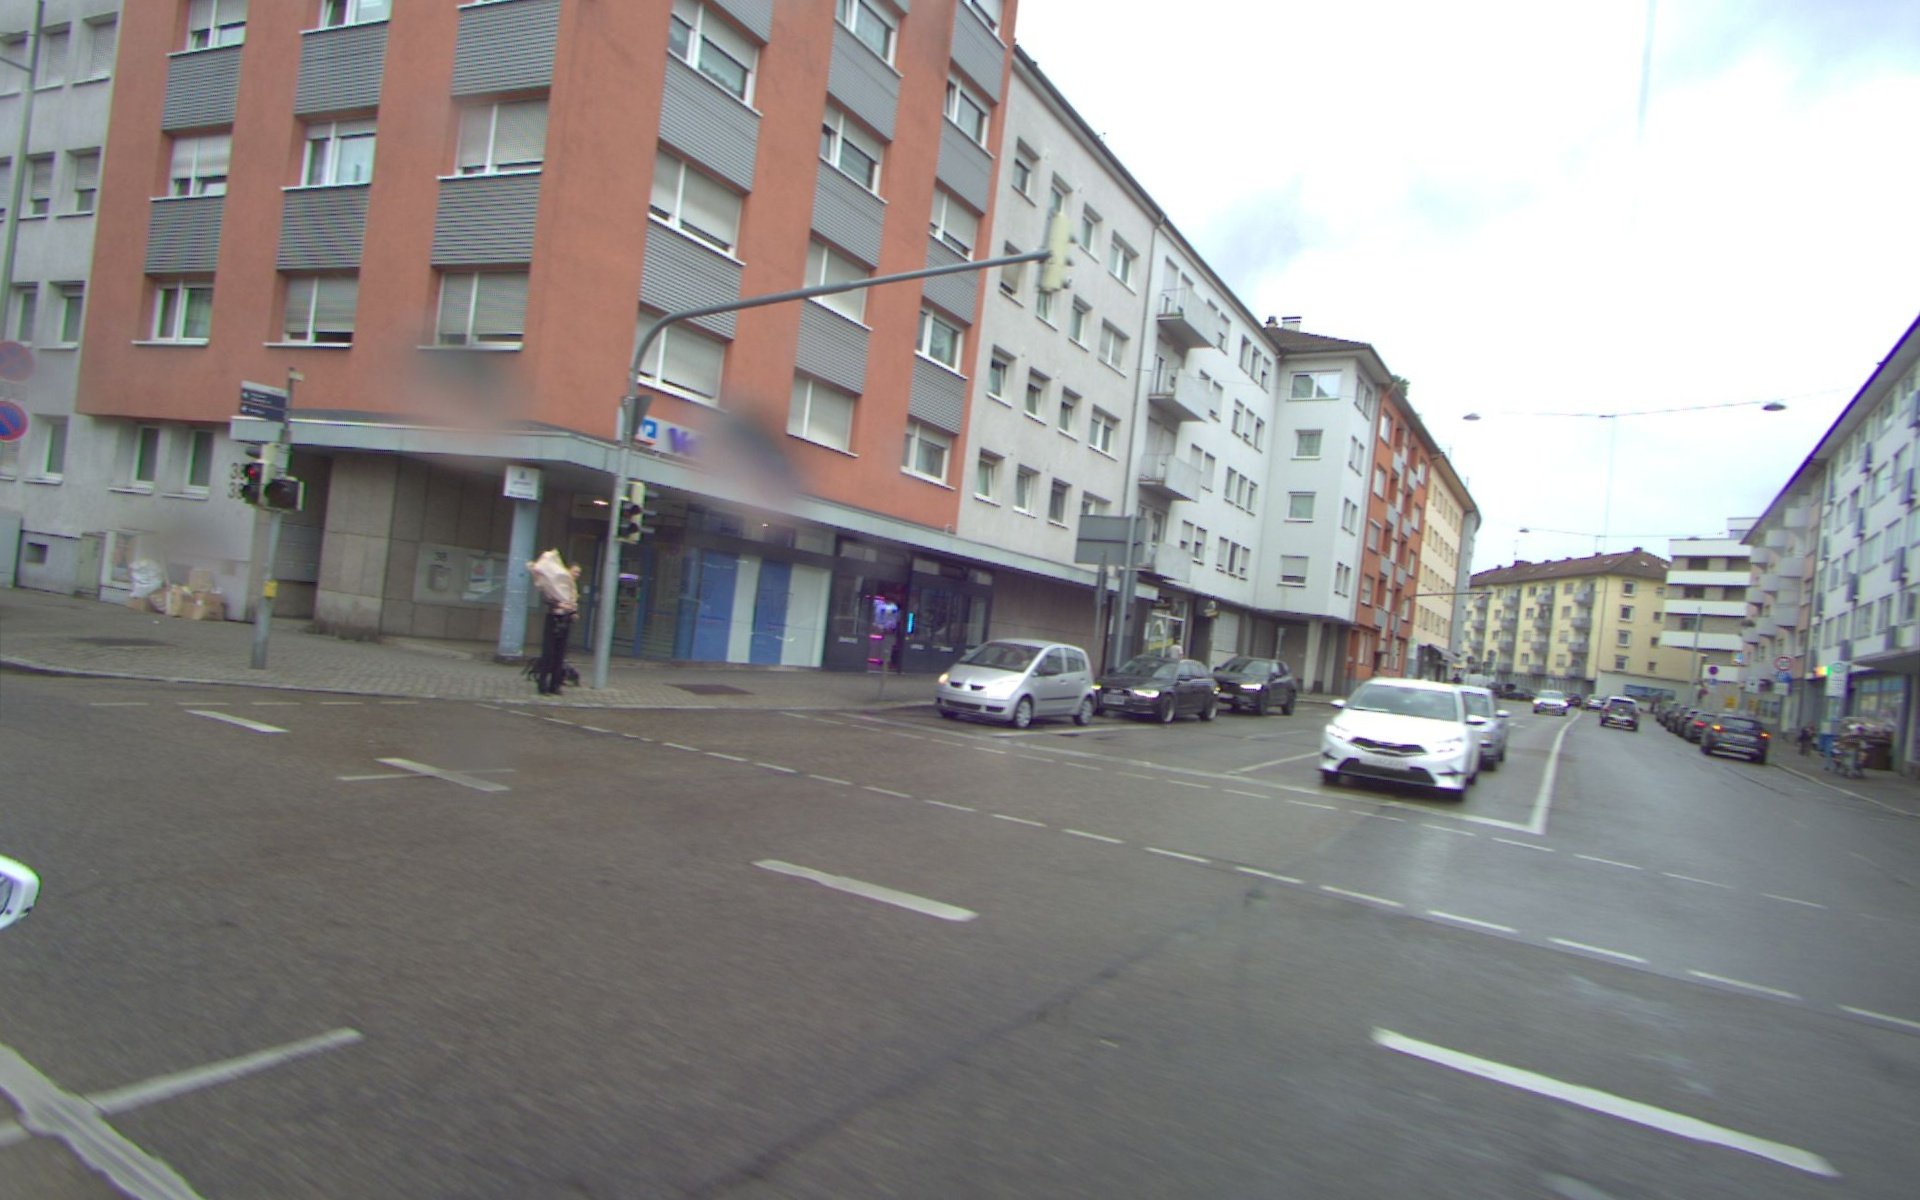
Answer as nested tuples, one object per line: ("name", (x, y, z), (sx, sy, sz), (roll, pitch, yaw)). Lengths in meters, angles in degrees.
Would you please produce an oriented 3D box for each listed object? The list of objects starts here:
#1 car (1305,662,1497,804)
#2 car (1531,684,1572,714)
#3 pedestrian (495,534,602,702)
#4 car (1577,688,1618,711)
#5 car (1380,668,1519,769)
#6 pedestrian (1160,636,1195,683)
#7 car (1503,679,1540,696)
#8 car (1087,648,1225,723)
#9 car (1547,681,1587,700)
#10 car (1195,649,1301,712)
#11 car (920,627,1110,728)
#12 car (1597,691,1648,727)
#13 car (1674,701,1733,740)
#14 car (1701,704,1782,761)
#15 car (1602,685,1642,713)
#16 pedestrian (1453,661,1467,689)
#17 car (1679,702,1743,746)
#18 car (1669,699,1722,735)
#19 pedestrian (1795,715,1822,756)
("car", (6.509, 1.788, 14.520), (1.888, 1.504, 4.657), (5, -1, 31))
("car", (36.628, 6.092, 62.228), (1.826, 1.504, 3.989), (6, 0, 34))
("pedestrian", (-5.664, 0.260, 13.872), (0.757, 2.183, 0.827), (6, -2, 33))
("car", (55.156, 8.599, 87.108), (1.963, 1.702, 4.005), (7, -3, 19))
("car", (9.512, 2.187, 19.338), (1.815, 1.504, 4.514), (5, -1, 32))
("pedestrian", (8.358, 2.284, 38.618), (0.812, 1.630, 1.012), (6, -2, 34))
("car", (66.524, 10.349, 119.213), (1.892, 1.725, 3.967), (7, -3, -1))
("car", (4.749, 2.014, 23.832), (1.641, 1.442, 4.374), (5, -1, 32))
("car", (66.493, 9.921, 110.203), (1.891, 1.725, 3.968), (7, -3, 2))
("car", (8.650, 2.401, 30.001), (1.729, 1.561, 4.241), (5, -1, 33))
("car", (1.128, 1.414, 18.472), (1.675, 1.504, 3.950), (5, -1, 32))
("car", (33.902, 5.542, 51.495), (1.968, 1.504, 3.988), (6, 0, 34))
("car", (37.412, 6.024, 50.710), (1.959, 1.637, 4.118), (6, -1, 33))
("car", (27.968, 4.703, 36.114), (1.960, 1.637, 4.115), (6, -1, 35))
("car", (43.153, 6.411, 65.595), (1.968, 1.504, 3.989), (6, 0, 34))
("pedestrian", (35.074, 5.264, 70.549), (0.679, 1.827, 0.706), (6, -2, 26))
("car", (34.197, 5.622, 45.903), (1.959, 1.637, 4.117), (6, -1, 34))
("car", (40.614, 6.408, 55.637), (1.959, 1.637, 4.118), (6, -1, 33))
("pedestrian", (33.983, 5.426, 40.296), (0.617, 1.520, 0.705), (6, -2, 34))
